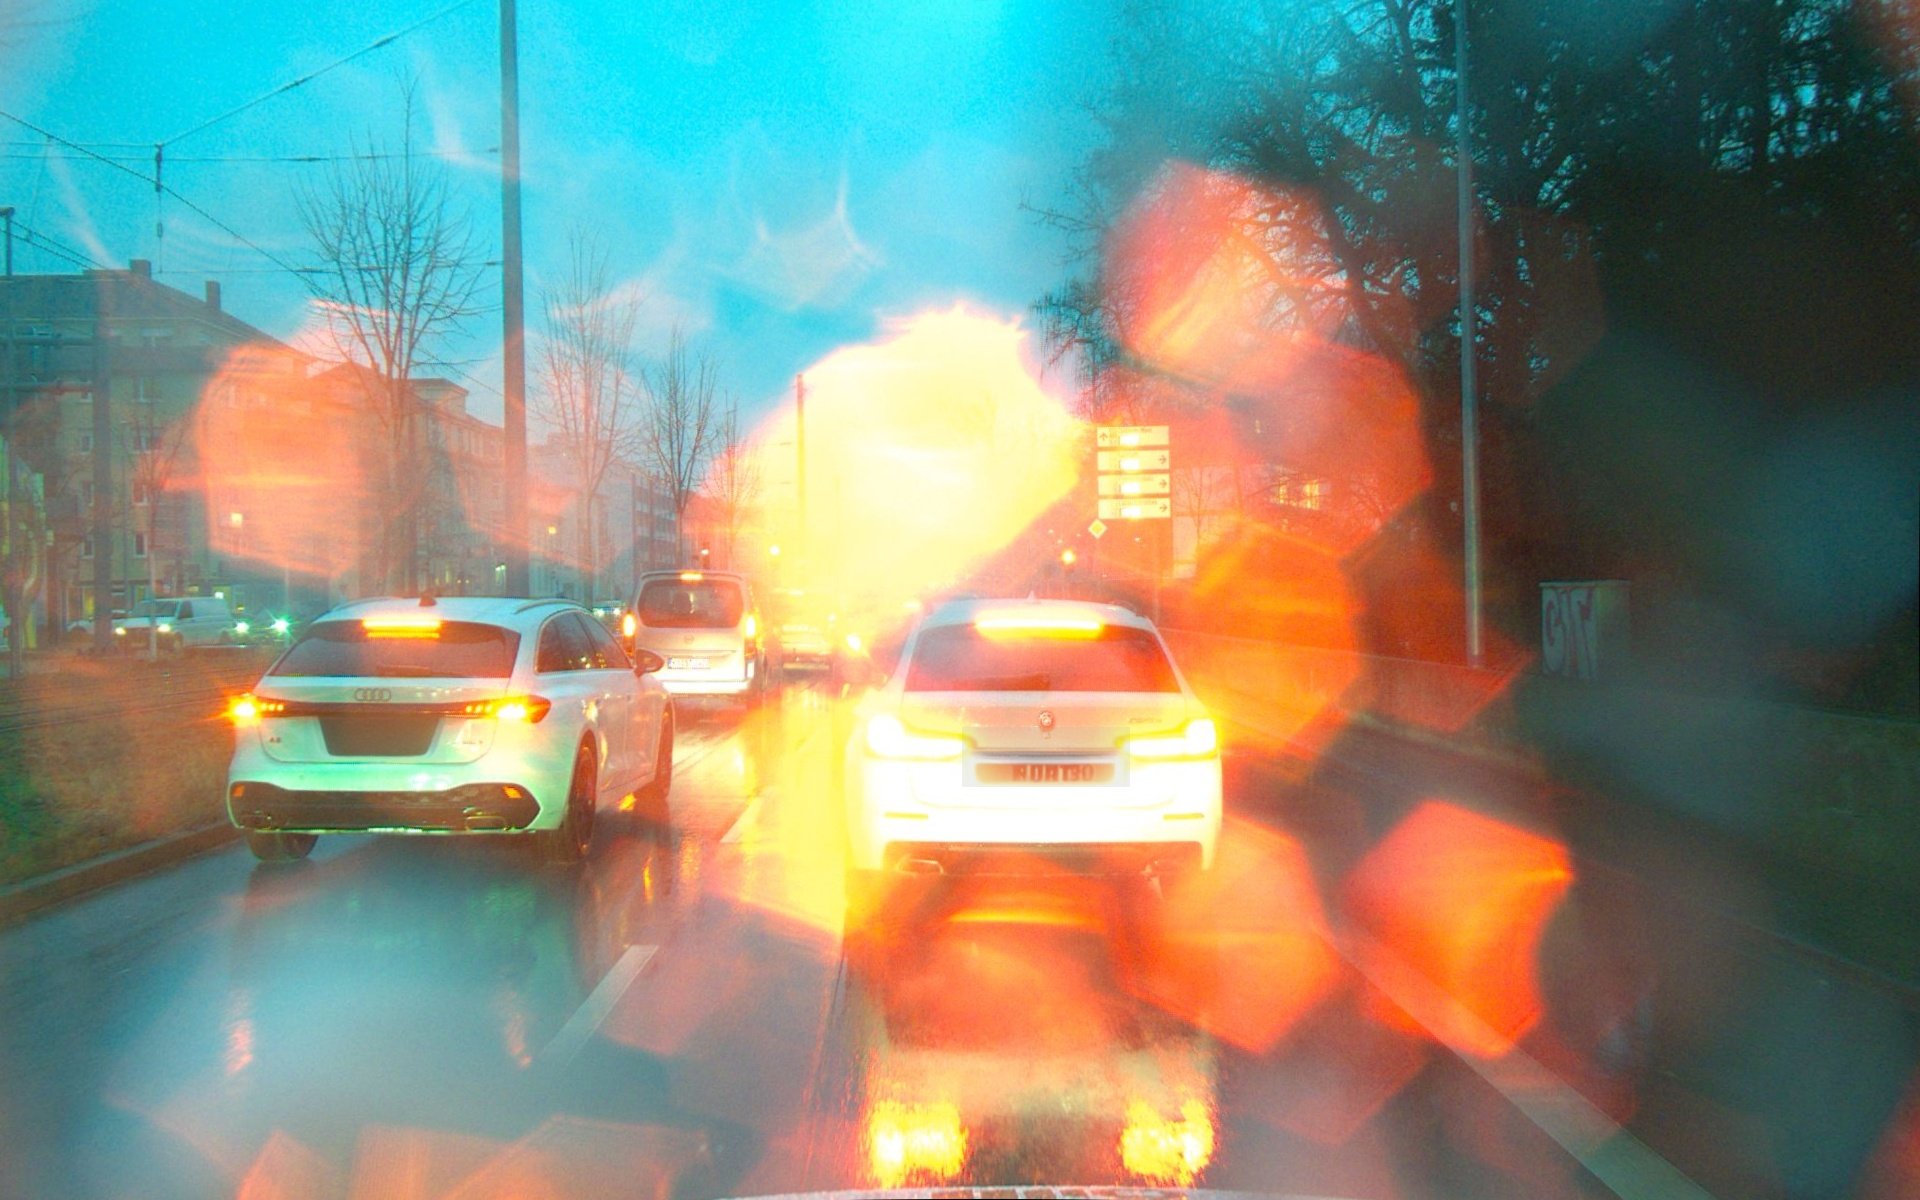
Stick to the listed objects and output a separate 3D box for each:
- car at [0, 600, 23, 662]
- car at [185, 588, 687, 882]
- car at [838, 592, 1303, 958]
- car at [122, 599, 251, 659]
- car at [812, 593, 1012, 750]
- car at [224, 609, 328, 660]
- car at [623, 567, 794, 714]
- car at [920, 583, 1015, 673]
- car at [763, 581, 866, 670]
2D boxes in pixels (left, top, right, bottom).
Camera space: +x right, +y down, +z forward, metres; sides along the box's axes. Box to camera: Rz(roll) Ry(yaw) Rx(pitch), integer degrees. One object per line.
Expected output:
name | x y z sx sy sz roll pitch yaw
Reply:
car | -32.407 1.031 51.677 1.966 1.945 5.129 -1 0 43
car | -2.938 0.669 10.396 1.809 1.430 4.612 0 0 -2
car | 0.438 0.722 9.049 1.959 1.534 4.162 0 0 -1
car | -27.123 0.978 58.181 1.952 1.945 5.165 -1 0 2
car | -0.485 0.664 17.750 1.896 1.483 4.162 0 0 -1
car | -24.088 1.191 58.443 1.857 1.662 4.579 -1 0 -2
car | -3.253 0.493 22.194 1.757 1.766 4.535 0 0 -2
car | 0.109 0.508 32.915 1.770 1.674 3.999 0 0 -1
car | -2.874 0.476 33.332 1.770 1.674 3.999 0 0 -1
